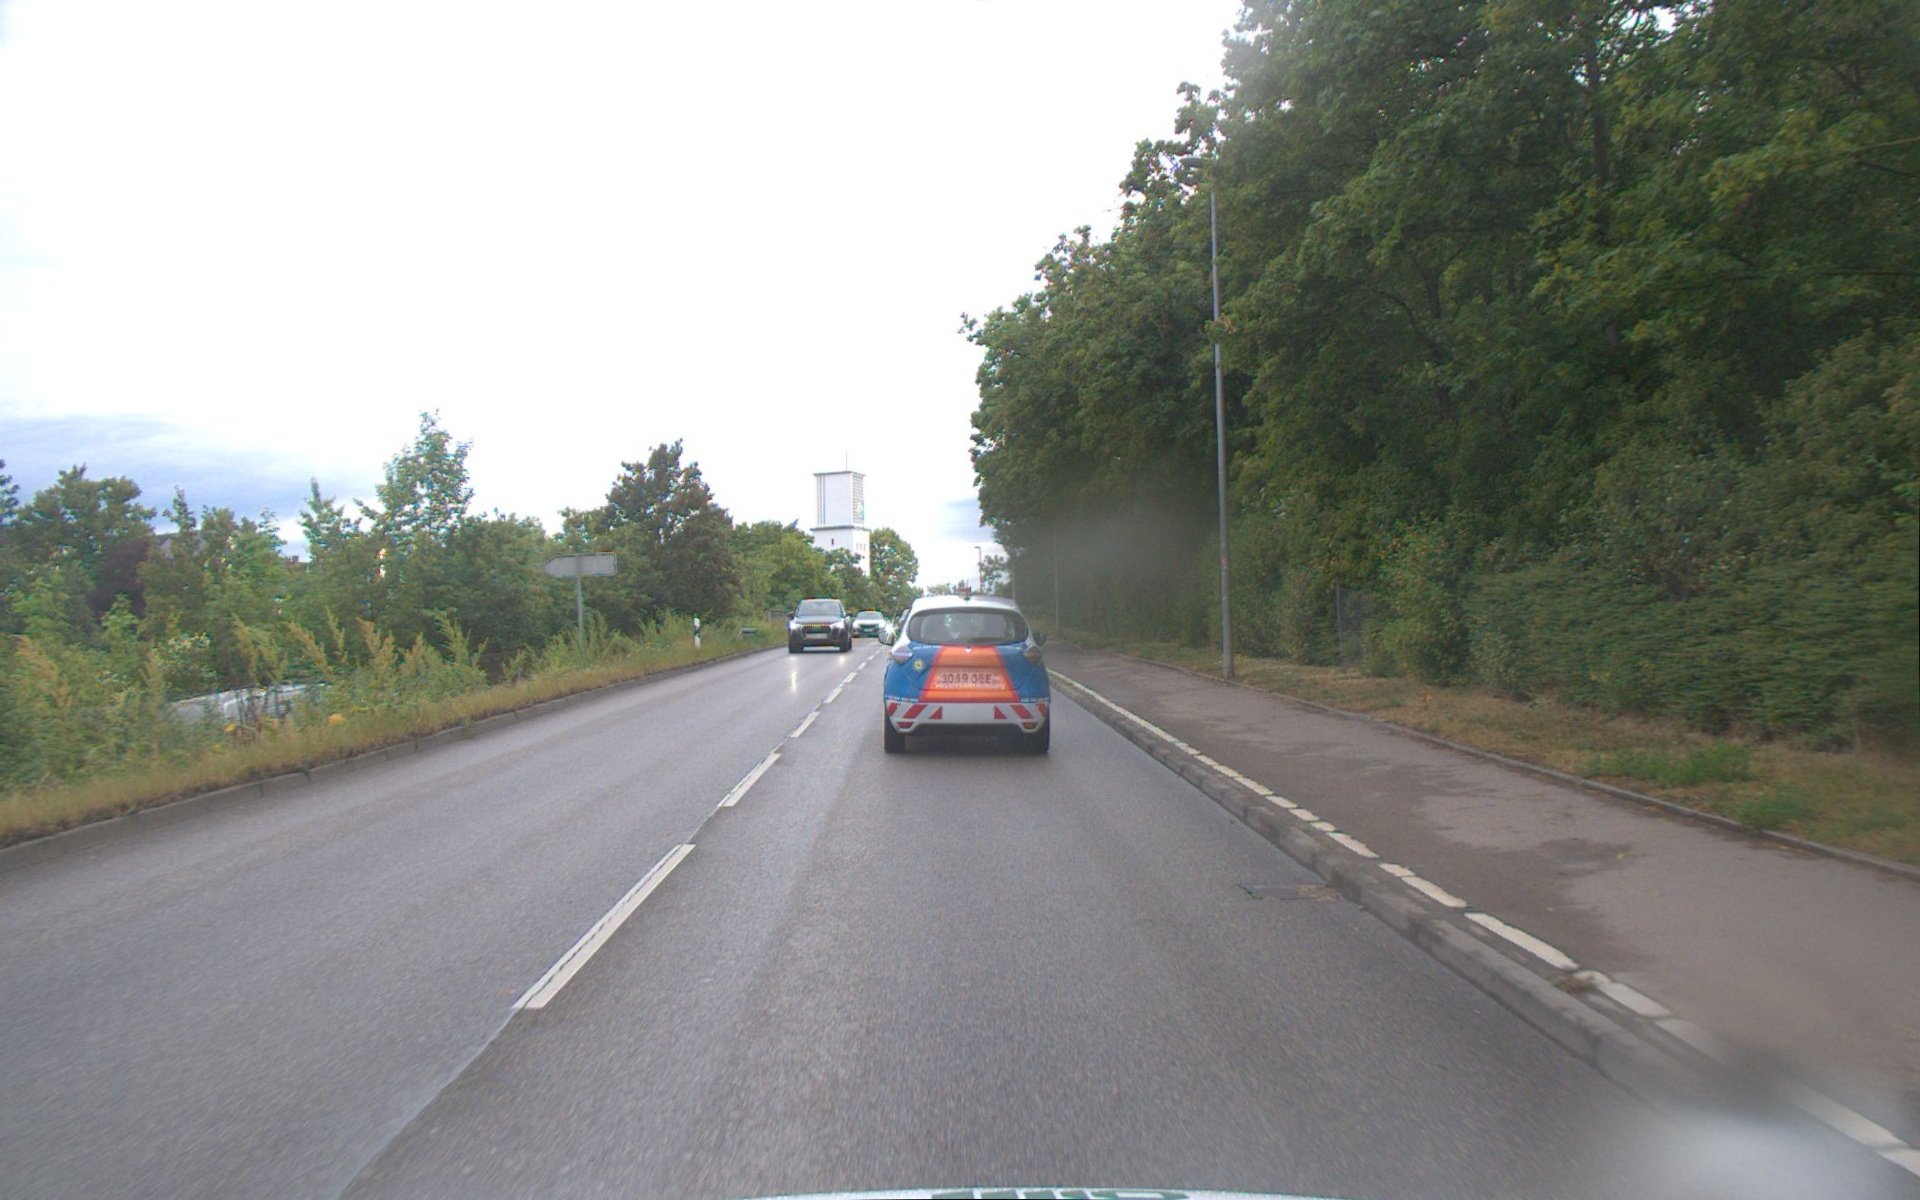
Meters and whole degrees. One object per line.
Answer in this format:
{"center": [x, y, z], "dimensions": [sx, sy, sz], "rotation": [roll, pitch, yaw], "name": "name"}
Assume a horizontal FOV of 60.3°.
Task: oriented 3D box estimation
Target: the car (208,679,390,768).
{"center": [-14.220, 2.625, 35.833], "dimensions": [1.617, 1.550, 4.071], "rotation": [-3, 0, 12], "name": "car"}

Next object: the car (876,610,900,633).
{"center": [-5.276, 1.579, 121.080], "dimensions": [1.695, 1.613, 4.079], "rotation": [-1, 0, -2], "name": "car"}

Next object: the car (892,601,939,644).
{"center": [-1.778, 0.898, 66.003], "dimensions": [1.766, 1.618, 3.561], "rotation": [-2, -1, -2], "name": "car"}

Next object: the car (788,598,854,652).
{"center": [-4.404, 0.770, 52.917], "dimensions": [1.831, 1.613, 4.413], "rotation": [-1, 0, -2], "name": "car"}

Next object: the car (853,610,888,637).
{"center": [-5.119, 1.327, 95.123], "dimensions": [1.824, 1.530, 4.726], "rotation": [-1, 0, -2], "name": "car"}

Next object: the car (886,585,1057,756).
{"center": [0.073, 0.713, 17.714], "dimensions": [1.624, 1.621, 3.567], "rotation": [-1, -1, -1], "name": "car"}
